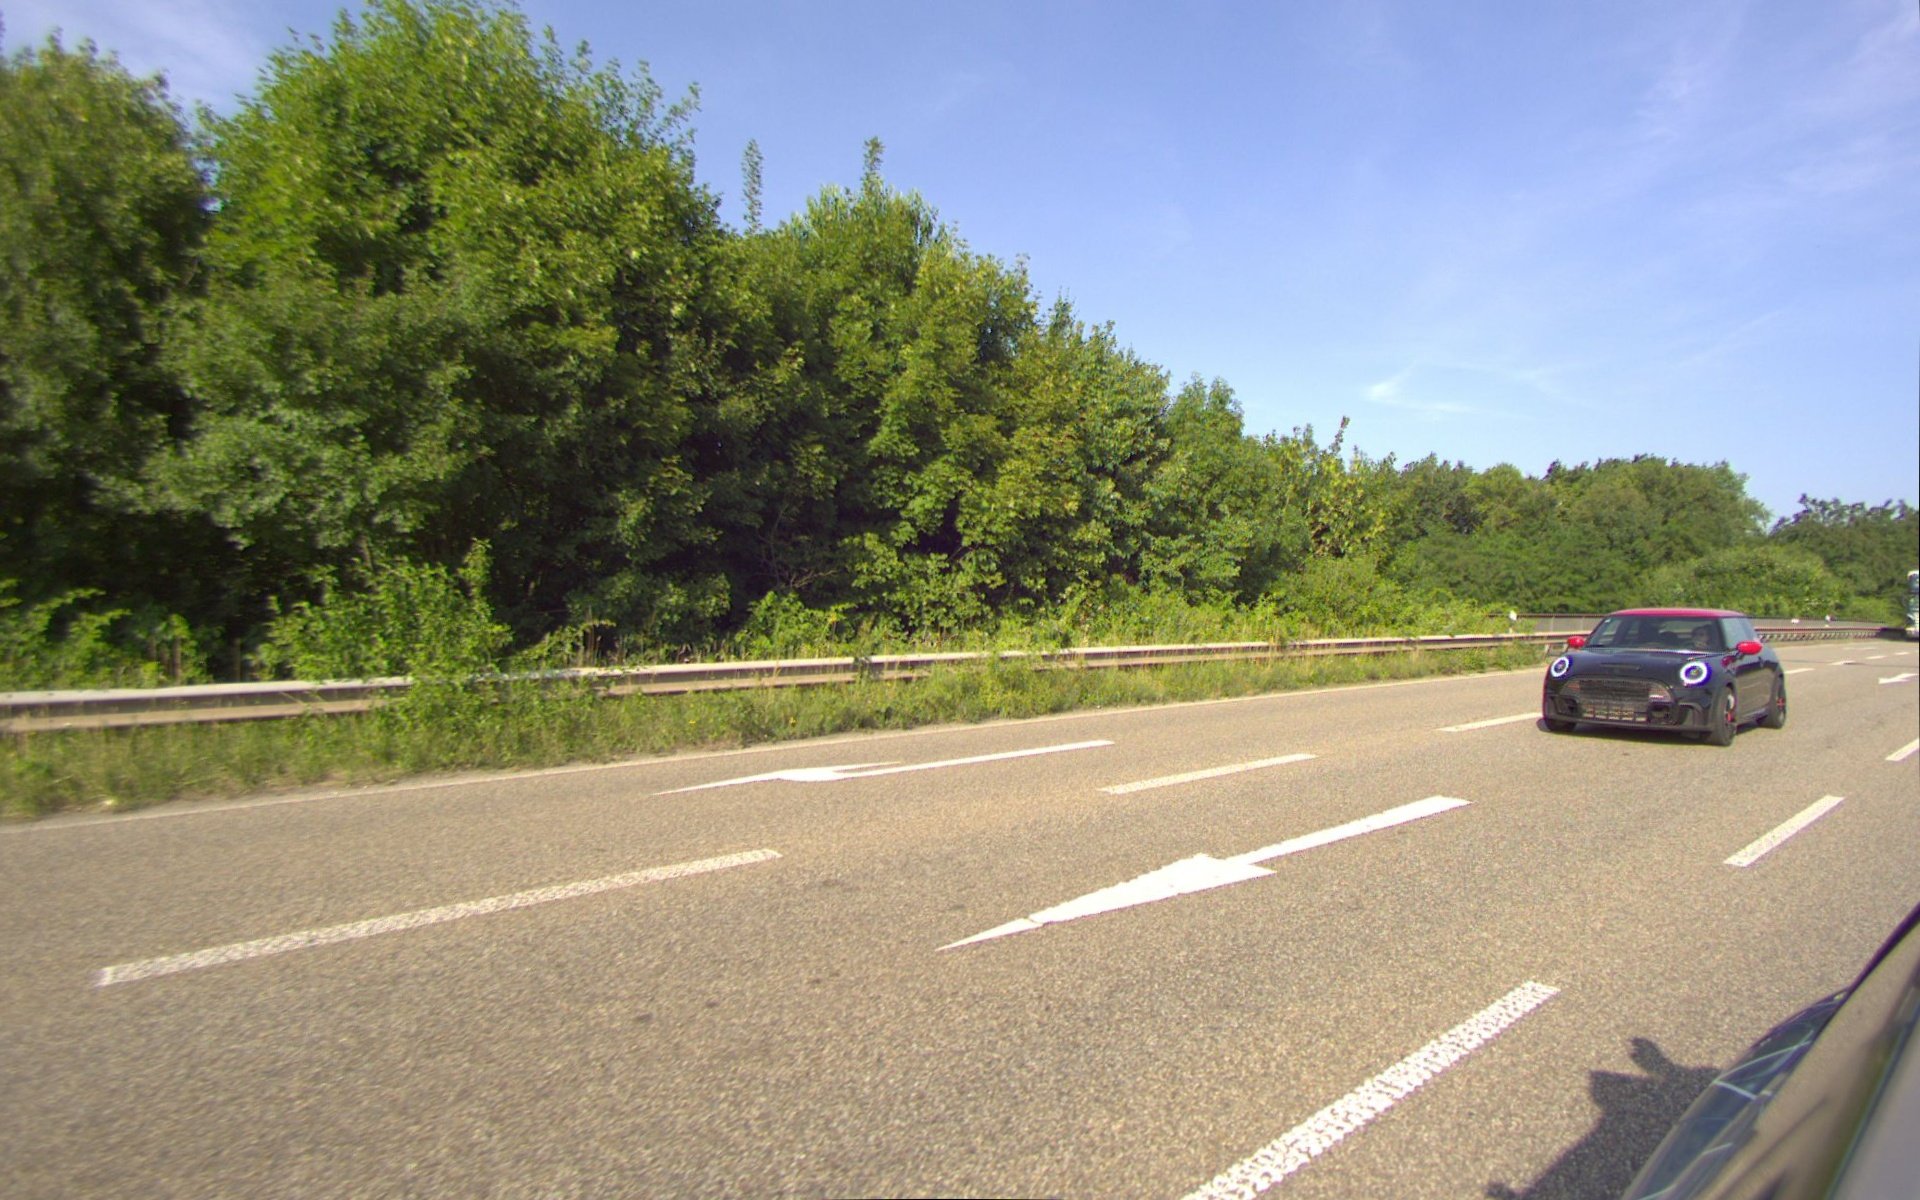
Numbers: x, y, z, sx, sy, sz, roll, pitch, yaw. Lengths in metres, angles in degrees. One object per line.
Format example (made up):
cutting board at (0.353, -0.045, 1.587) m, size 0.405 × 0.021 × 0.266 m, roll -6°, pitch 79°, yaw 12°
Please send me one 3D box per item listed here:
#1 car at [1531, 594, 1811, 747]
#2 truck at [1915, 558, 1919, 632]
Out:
car at (8.450, 0.683, 11.918) m, size 3.805 × 1.486 × 1.823 m, roll 0°, pitch 1°, yaw -40°
truck at (58.957, -0.328, 59.087) m, size 14.308 × 4.069 × 3.194 m, roll 0°, pitch 0°, yaw -41°
